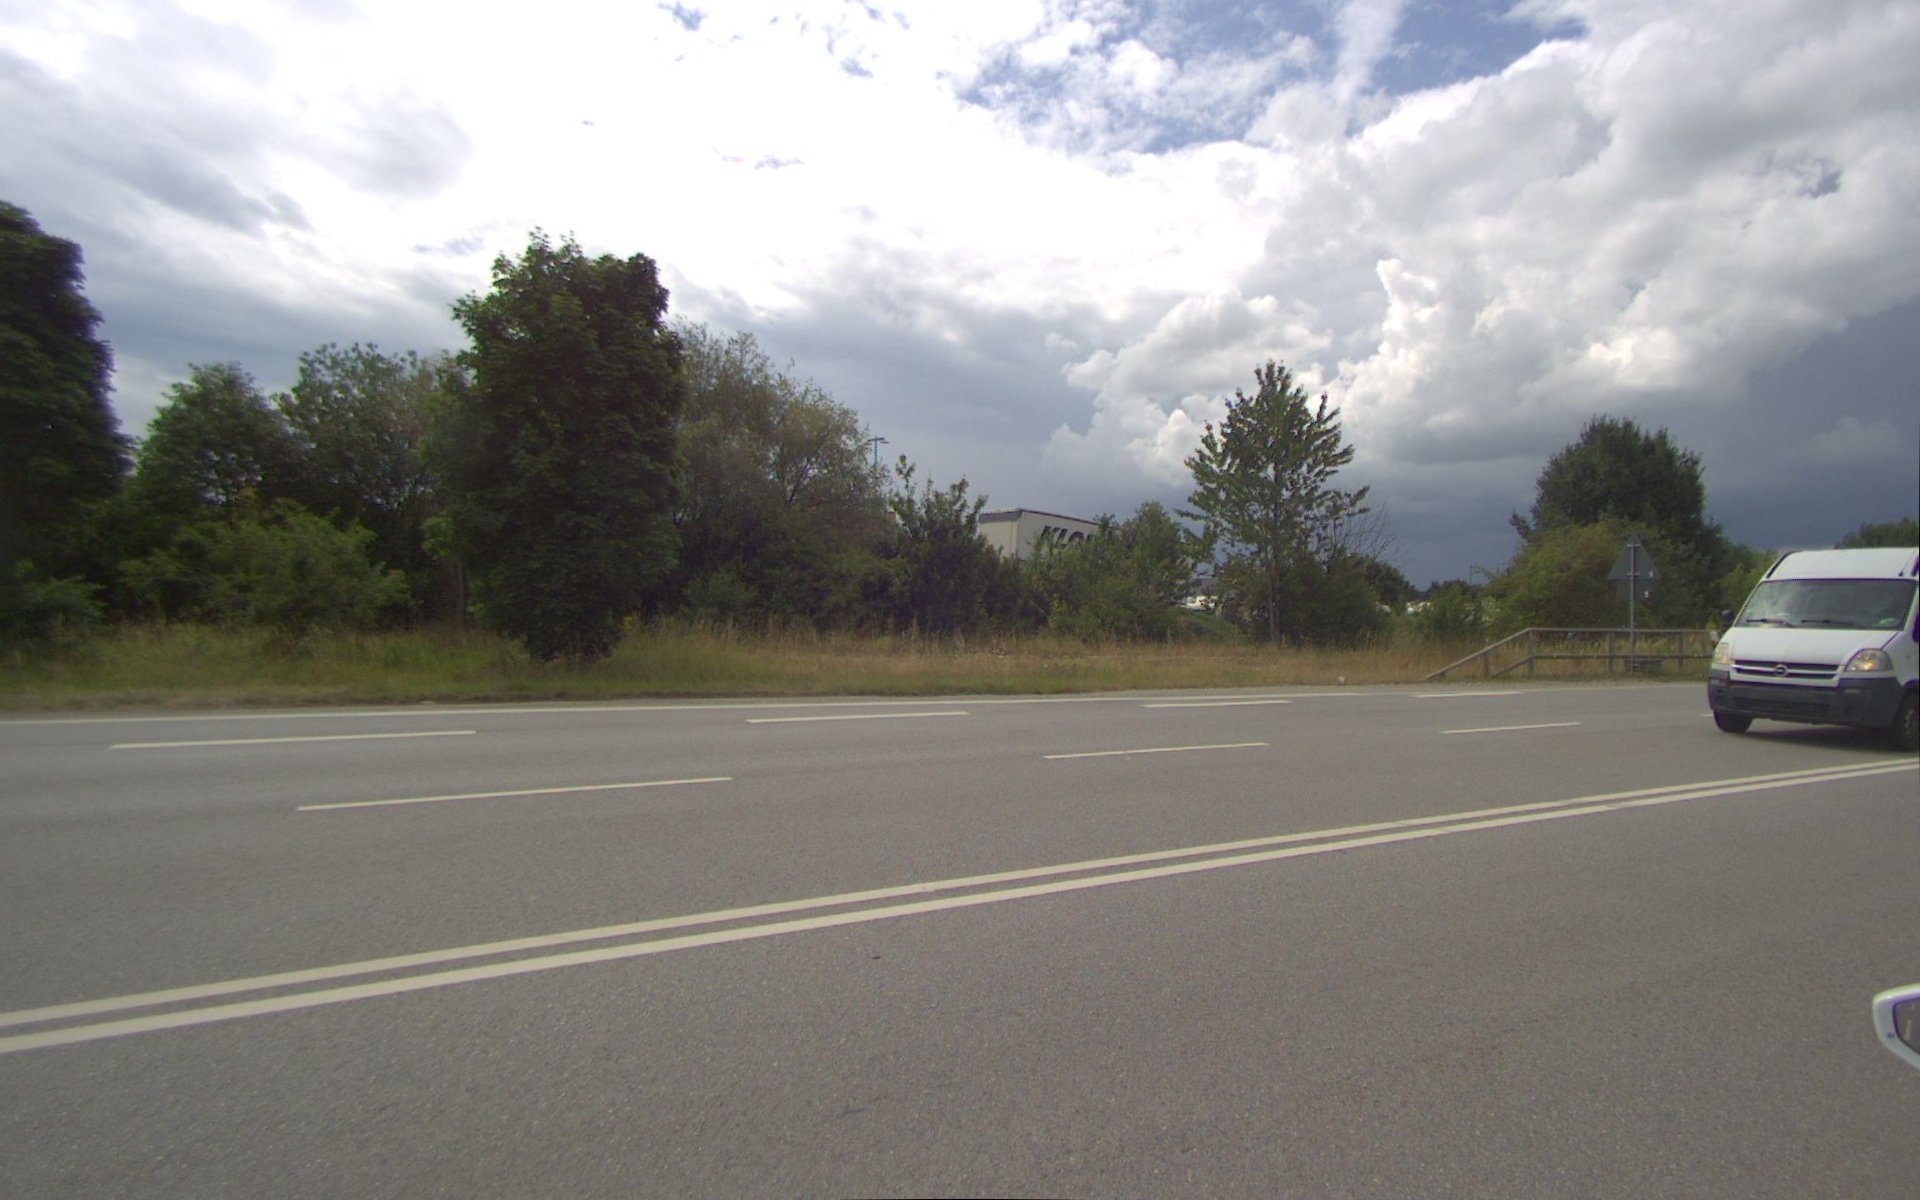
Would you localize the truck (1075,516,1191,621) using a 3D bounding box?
[{"bbox_3d":[9.011,-1.525,51.976,2.767,5.063,6.150,2,1,45],"label":"truck"}]

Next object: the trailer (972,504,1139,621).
[{"bbox_3d":[4.723,-1.609,47.633,2.769,5.063,8.926,2,1,45],"label":"trailer"}]

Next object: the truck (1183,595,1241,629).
[{"bbox_3d":[21.107,0.985,83.908,2.608,2.718,6.635,1,0,34],"label":"truck"}]

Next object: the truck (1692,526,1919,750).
[{"bbox_3d":[12.096,0.454,13.112,4.959,2.477,2.016,1,1,-27],"label":"truck"}]

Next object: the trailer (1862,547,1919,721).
[{"bbox_3d":[16.910,0.556,15.509,6.875,2.477,2.016,1,1,-27],"label":"trailer"}]

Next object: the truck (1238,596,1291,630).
[{"bbox_3d":[25.887,1.067,85.198,2.607,2.718,6.639,1,0,32],"label":"truck"}]

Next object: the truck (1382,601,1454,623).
[{"bbox_3d":[47.595,1.233,104.396,7.011,2.040,1.995,2,0,-13],"label":"truck"}]
